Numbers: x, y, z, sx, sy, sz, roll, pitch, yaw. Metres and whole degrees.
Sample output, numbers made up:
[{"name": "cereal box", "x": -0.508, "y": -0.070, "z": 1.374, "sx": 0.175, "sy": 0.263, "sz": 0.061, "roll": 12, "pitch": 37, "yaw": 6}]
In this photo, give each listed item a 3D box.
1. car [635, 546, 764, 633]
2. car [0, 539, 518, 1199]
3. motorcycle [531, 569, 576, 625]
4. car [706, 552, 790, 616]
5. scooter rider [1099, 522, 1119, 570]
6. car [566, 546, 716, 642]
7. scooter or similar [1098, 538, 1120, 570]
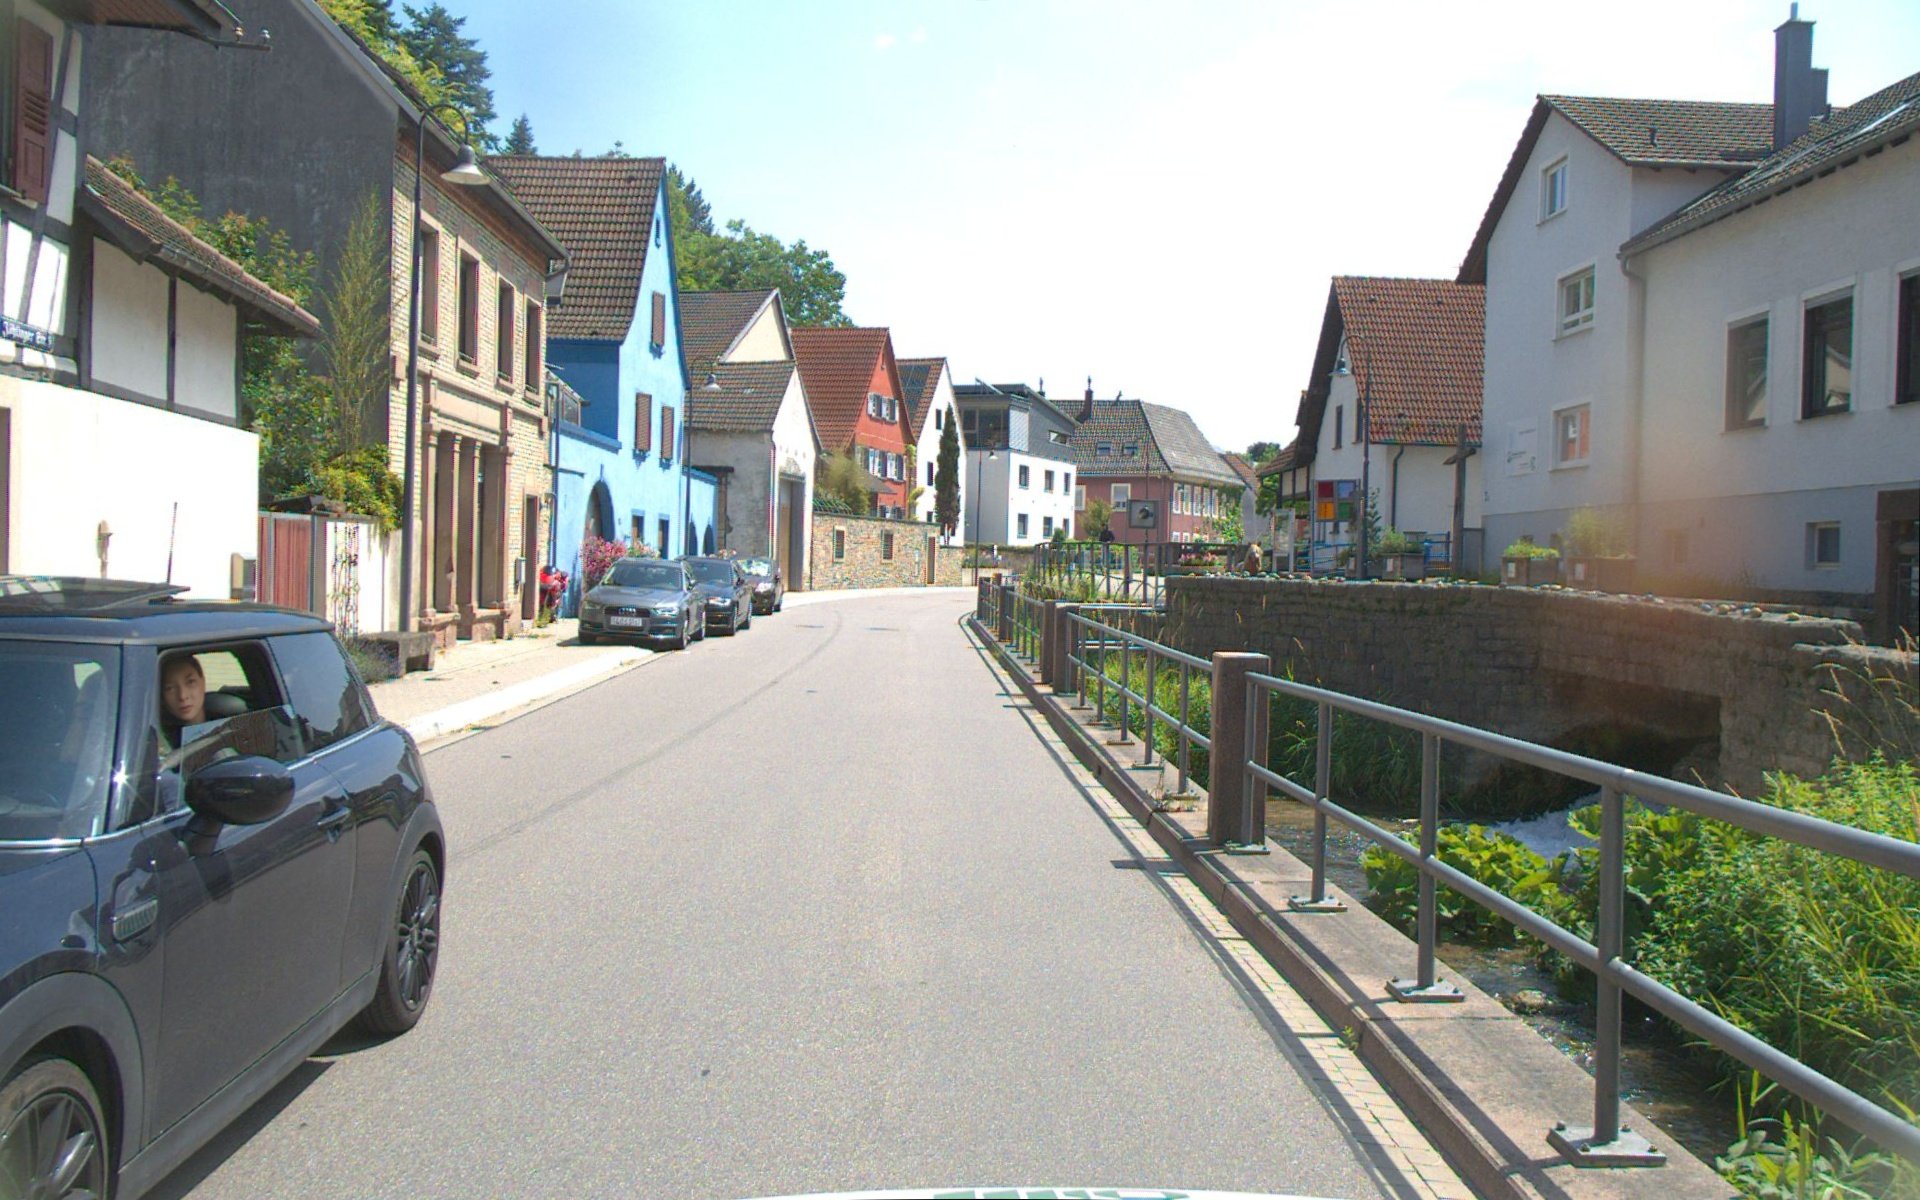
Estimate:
[{"name": "car", "x": -5.269, "y": -0.275, "z": 34.046, "sx": 1.847, "sy": 1.489, "sz": 4.669, "roll": 5, "pitch": 2, "yaw": -1}, {"name": "car", "x": -2.496, "y": 0.624, "z": 4.387, "sx": 1.665, "sy": 1.491, "sz": 4.432, "roll": 1, "pitch": 0, "yaw": -3}, {"name": "motorcycle", "x": -7.917, "y": -0.081, "z": 32.252, "sx": 0.409, "sy": 1.018, "sz": 1.857, "roll": 6, "pitch": 1, "yaw": -3}, {"name": "car", "x": -5.615, "y": -0.467, "z": 44.257, "sx": 1.681, "sy": 1.556, "sz": 3.858, "roll": 1, "pitch": 3, "yaw": 1}, {"name": "scooter rider", "x": 5.562, "y": -2.020, "z": 61.668, "sx": 0.628, "sy": 1.762, "sz": 0.554, "roll": 2, "pitch": 1, "yaw": -1}, {"name": "car", "x": -5.508, "y": -0.128, "z": 29.107, "sx": 1.918, "sy": 1.491, "sz": 4.543, "roll": 2, "pitch": 1, "yaw": -3}, {"name": "scooter or similar", "x": 5.538, "y": -1.714, "z": 61.558, "sx": 0.628, "sy": 1.162, "sz": 1.811, "roll": 0, "pitch": 1, "yaw": -1}]
